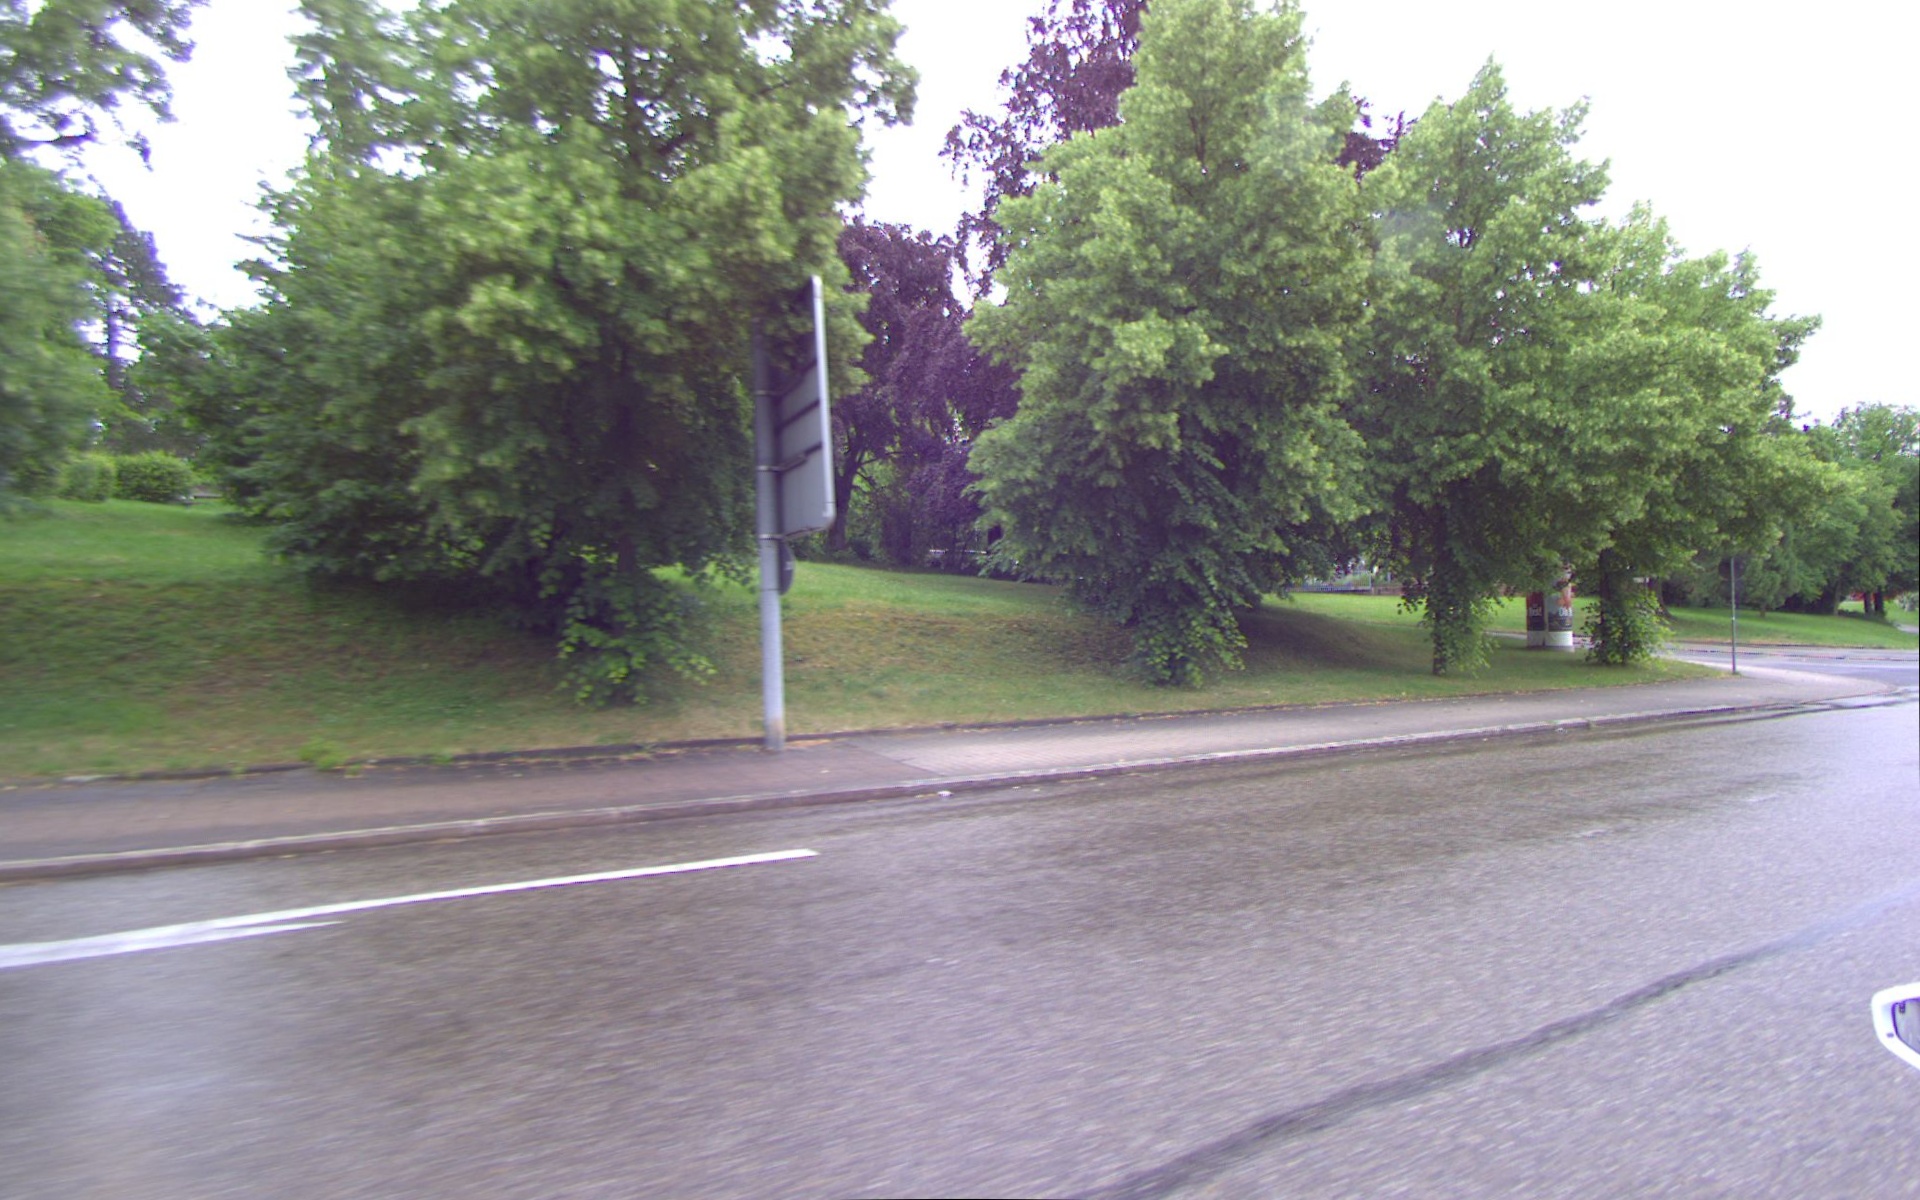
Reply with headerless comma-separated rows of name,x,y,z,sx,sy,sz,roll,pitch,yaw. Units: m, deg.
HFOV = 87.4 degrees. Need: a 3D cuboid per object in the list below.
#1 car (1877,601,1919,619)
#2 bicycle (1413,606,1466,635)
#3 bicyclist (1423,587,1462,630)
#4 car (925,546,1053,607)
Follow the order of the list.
car,82.493,0.903,87.418,3.852,1.505,1.925,0,-2,42
bicycle,20.566,0.899,43.104,0.842,1.170,2.027,3,-3,-23
bicyclist,20.647,0.396,42.974,0.842,1.778,1.279,3,-2,-23
car,1.372,-1.098,47.245,5.560,2.735,2.157,1,0,22
